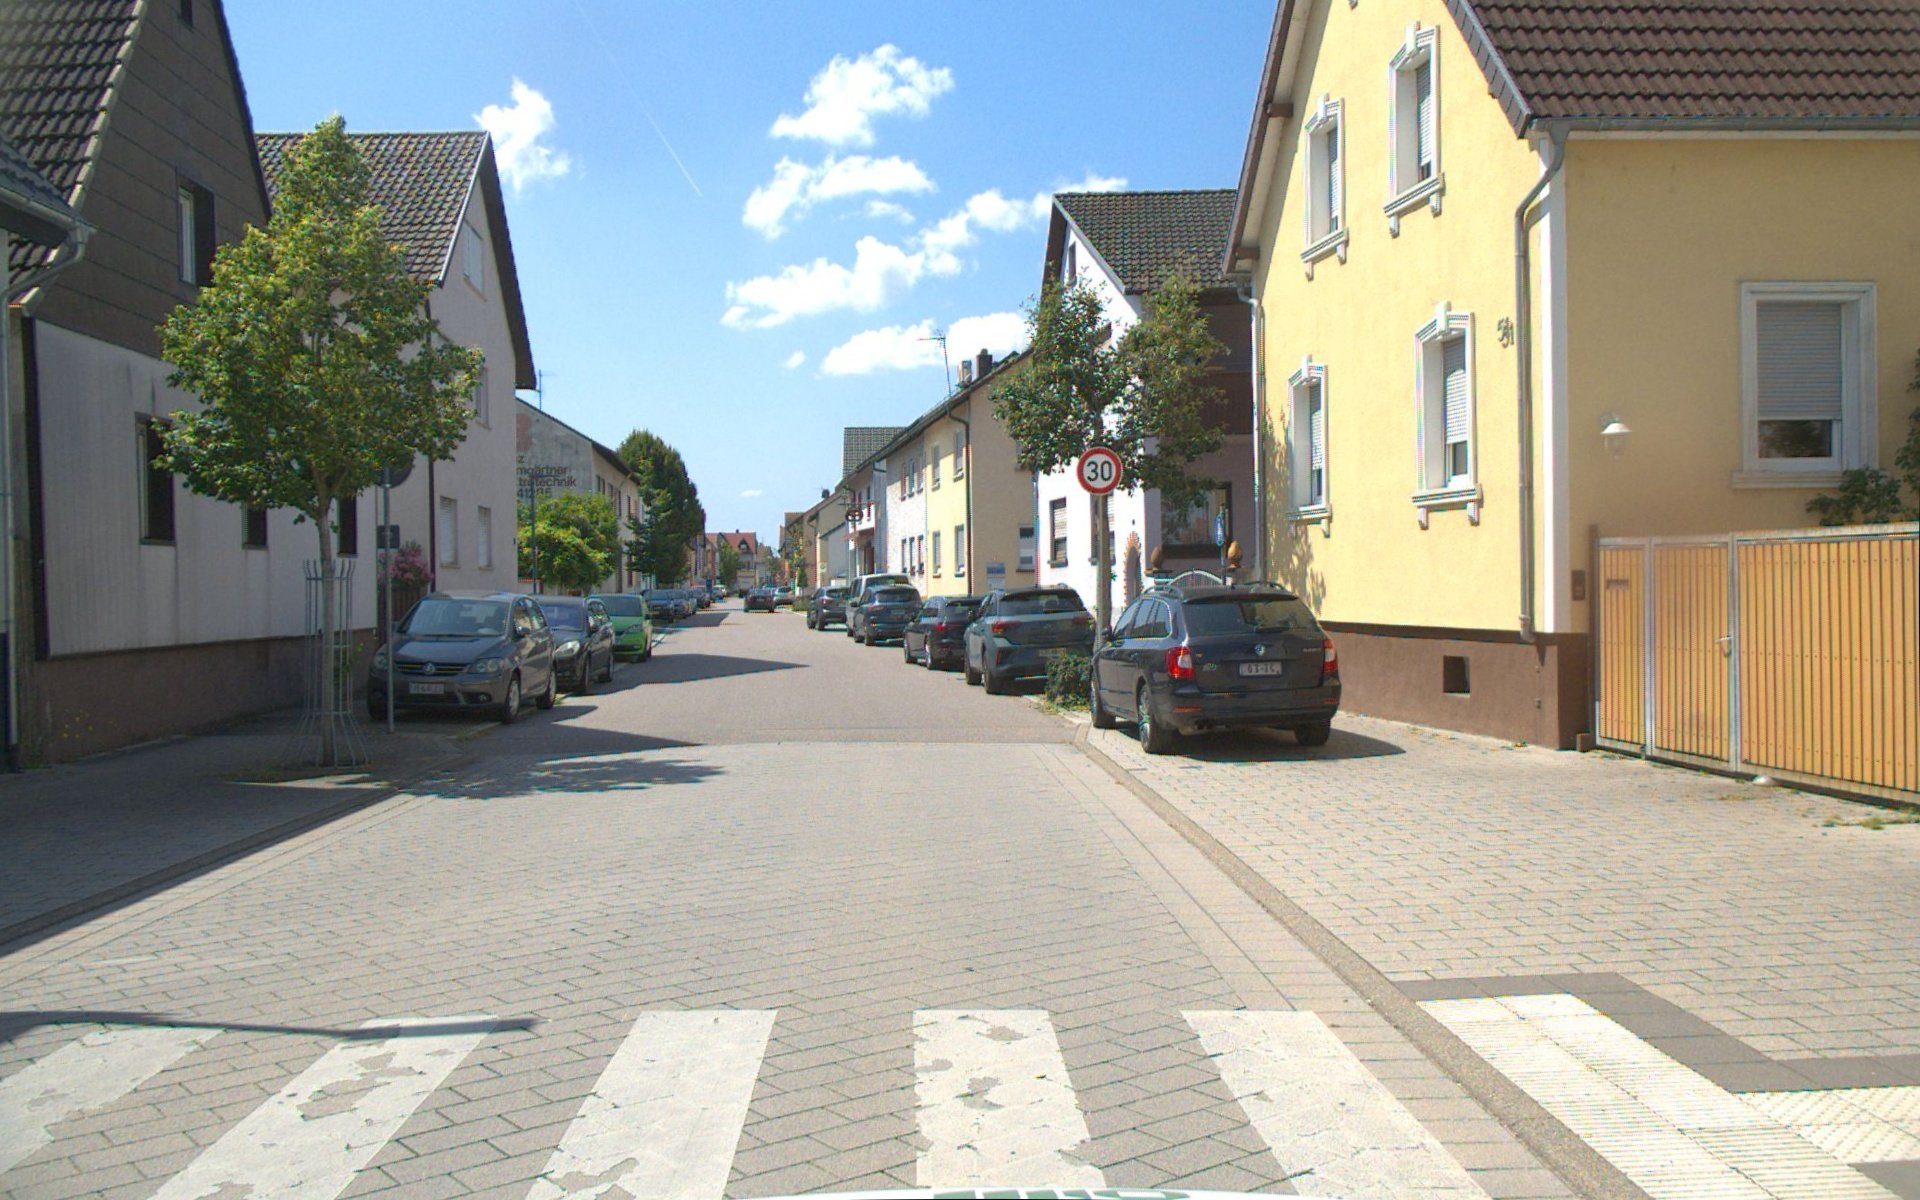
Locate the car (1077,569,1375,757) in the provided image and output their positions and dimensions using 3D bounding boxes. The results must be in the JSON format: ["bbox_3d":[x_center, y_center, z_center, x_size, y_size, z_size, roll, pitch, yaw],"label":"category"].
[{"bbox_3d":[2.438,0.526,16.297,1.794,1.497,4.271,-3,0,-6],"label":"car"}]

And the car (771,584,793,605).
[{"bbox_3d":[-13.696,-0.438,127.264,1.655,1.478,3.788,-1,1,-6],"label":"car"}]

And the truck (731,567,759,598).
[{"bbox_3d":[-28.638,-2.321,220.229,3.498,4.022,8.564,-1,1,-9],"label":"truck"}]

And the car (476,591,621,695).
[{"bbox_3d":[-6.804,0.653,27.731,1.716,1.559,4.255,0,1,-5],"label":"car"}]

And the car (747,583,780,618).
[{"bbox_3d":[-12.409,0.028,104.461,1.955,2.093,4.368,-1,1,-7],"label":"car"}]

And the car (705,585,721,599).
[{"bbox_3d":[-30.600,-0.994,204.778,1.812,1.737,3.714,-1,1,-7],"label":"car"}]

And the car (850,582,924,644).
[{"bbox_3d":[-2.113,0.329,46.966,1.841,1.619,3.995,-1,1,-6],"label":"car"}]

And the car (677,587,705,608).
[{"bbox_3d":[-20.815,-0.210,128.030,1.880,1.467,3.995,-1,1,-7],"label":"car"}]

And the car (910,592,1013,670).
[{"bbox_3d":[-0.016,0.575,33.386,1.678,1.411,3.701,-1,1,-6],"label":"car"}]

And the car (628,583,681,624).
[{"bbox_3d":[-13.443,0.119,72.987,1.955,1.691,3.995,-1,1,-7],"label":"car"}]

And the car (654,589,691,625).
[{"bbox_3d":[-14.797,0.343,85.251,1.651,1.789,3.610,-1,1,-7],"label":"car"}]

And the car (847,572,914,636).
[{"bbox_3d":[-2.571,0.102,52.643,1.870,1.904,3.995,-1,1,-6],"label":"car"}]

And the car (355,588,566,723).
[{"bbox_3d":[-6.340,0.637,21.432,1.712,1.556,3.998,0,1,-3],"label":"car"}]

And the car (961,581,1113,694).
[{"bbox_3d":[1.126,0.517,25.891,1.811,1.590,3.689,-1,1,-6],"label":"car"}]

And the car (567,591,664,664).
[{"bbox_3d":[-7.833,0.589,37.895,1.758,1.501,3.865,-1,1,-6],"label":"car"}]

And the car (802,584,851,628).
[{"bbox_3d":[-4.995,0.189,61.611,1.720,1.519,3.995,-1,1,-6],"label":"car"}]
